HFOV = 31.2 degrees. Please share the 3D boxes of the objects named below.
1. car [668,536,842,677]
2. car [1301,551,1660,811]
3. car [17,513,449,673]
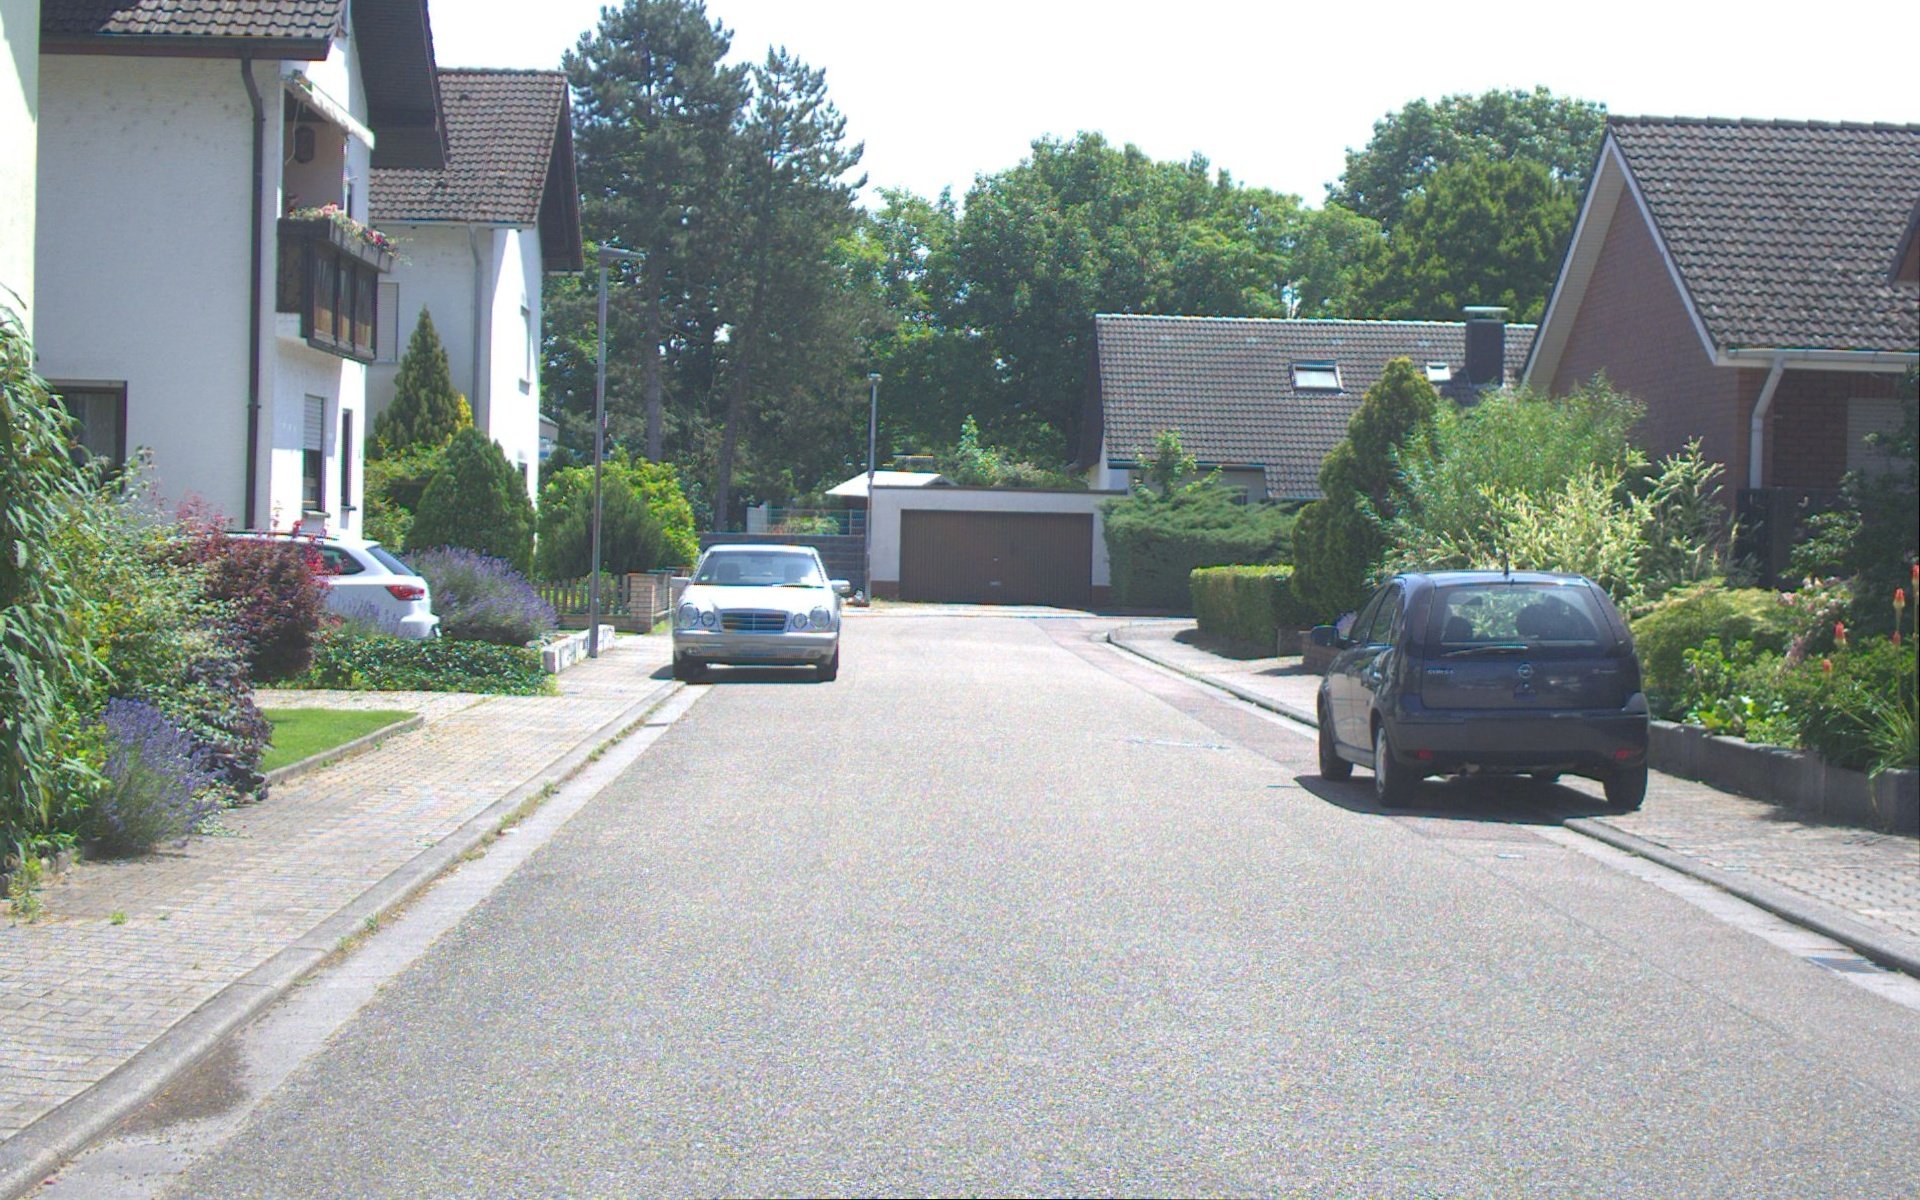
[{"bbox_3d":[-2.216,0.029,38.128,1.699,1.388,4.337,2,1,-1],"label":"car"},{"bbox_3d":[3.233,0.451,21.999,1.650,1.435,3.652,2,1,-1],"label":"car"},{"bbox_3d":[-7.128,-0.089,34.023,3.986,1.415,1.846,2,1,-6],"label":"car"}]
